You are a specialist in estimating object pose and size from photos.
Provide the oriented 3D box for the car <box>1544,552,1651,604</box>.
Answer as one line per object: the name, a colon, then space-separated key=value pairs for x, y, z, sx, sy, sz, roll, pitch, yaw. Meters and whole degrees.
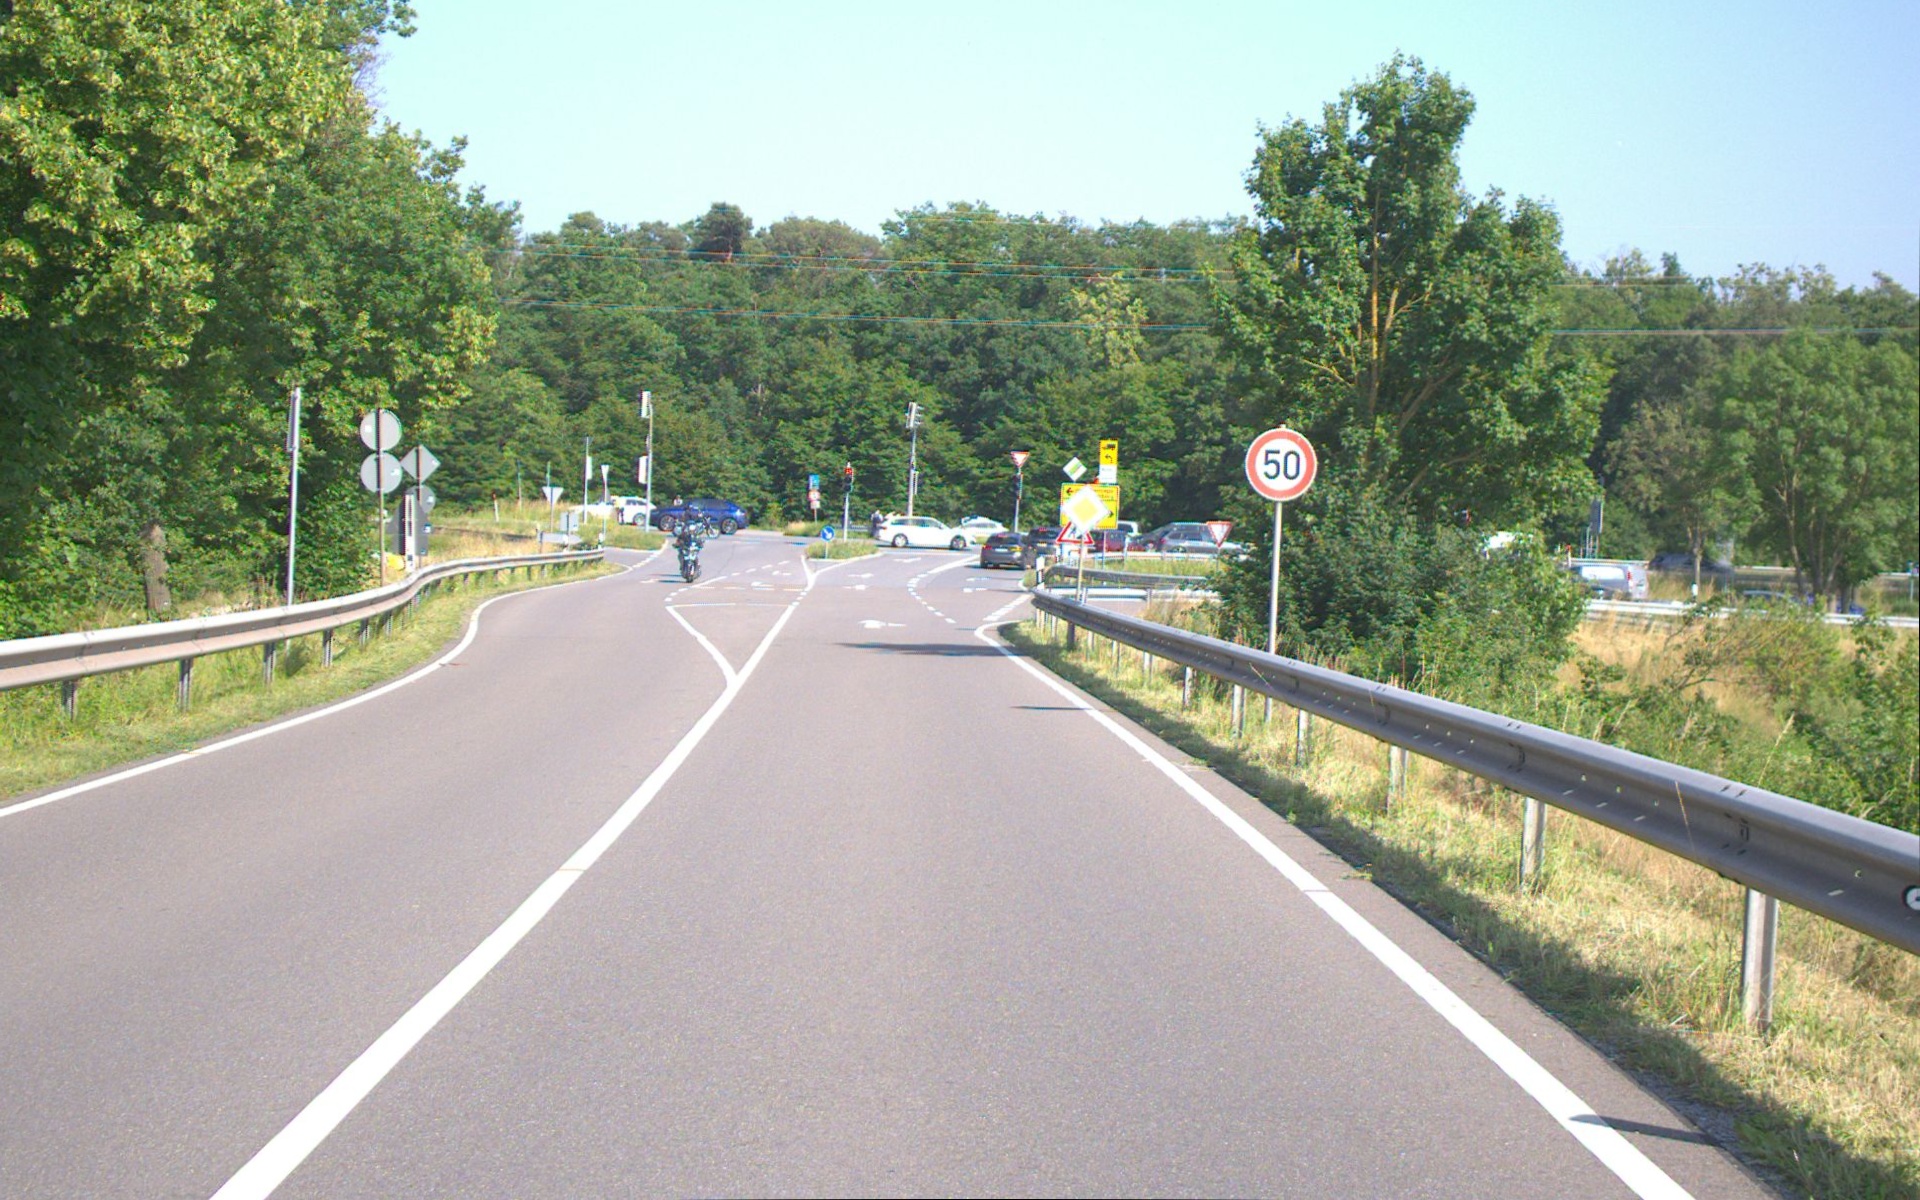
car: x=27.446 y=-0.941 z=148.050 sx=3.997 sy=1.870 sz=1.887 roll=6 pitch=2 yaw=39

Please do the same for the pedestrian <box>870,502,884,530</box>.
pedestrian: x=-4.204 y=-4.258 z=174.631 sx=0.524 sy=1.386 sz=0.513 roll=1 pitch=1 yaw=29

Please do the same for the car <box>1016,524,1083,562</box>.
car: x=3.767 y=-2.383 z=144.303 sx=1.801 sy=1.495 sz=3.997 roll=3 pitch=2 yaw=16

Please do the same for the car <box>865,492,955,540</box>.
car: x=-2.311 y=-3.873 z=158.243 sx=3.986 sy=2.006 sz=1.801 roll=2 pitch=2 yaw=-5

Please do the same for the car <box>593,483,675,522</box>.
car: x=-17.185 y=-5.110 z=181.211 sx=3.986 sy=2.007 sz=1.796 roll=0 pitch=1 yaw=-22

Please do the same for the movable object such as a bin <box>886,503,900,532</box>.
movable object such as a bin: x=-3.429 y=-4.199 z=175.369 sx=0.602 sy=1.483 sz=0.732 roll=1 pitch=1 yaw=7

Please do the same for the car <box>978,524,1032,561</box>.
car: x=1.799 y=-2.301 z=136.675 sx=1.799 sy=1.393 sz=4.000 roll=-2 pitch=1 yaw=5

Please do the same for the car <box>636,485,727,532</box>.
car: x=-12.820 y=-4.199 z=158.003 sx=3.986 sy=2.006 sz=1.801 roll=2 pitch=2 yaw=-9
